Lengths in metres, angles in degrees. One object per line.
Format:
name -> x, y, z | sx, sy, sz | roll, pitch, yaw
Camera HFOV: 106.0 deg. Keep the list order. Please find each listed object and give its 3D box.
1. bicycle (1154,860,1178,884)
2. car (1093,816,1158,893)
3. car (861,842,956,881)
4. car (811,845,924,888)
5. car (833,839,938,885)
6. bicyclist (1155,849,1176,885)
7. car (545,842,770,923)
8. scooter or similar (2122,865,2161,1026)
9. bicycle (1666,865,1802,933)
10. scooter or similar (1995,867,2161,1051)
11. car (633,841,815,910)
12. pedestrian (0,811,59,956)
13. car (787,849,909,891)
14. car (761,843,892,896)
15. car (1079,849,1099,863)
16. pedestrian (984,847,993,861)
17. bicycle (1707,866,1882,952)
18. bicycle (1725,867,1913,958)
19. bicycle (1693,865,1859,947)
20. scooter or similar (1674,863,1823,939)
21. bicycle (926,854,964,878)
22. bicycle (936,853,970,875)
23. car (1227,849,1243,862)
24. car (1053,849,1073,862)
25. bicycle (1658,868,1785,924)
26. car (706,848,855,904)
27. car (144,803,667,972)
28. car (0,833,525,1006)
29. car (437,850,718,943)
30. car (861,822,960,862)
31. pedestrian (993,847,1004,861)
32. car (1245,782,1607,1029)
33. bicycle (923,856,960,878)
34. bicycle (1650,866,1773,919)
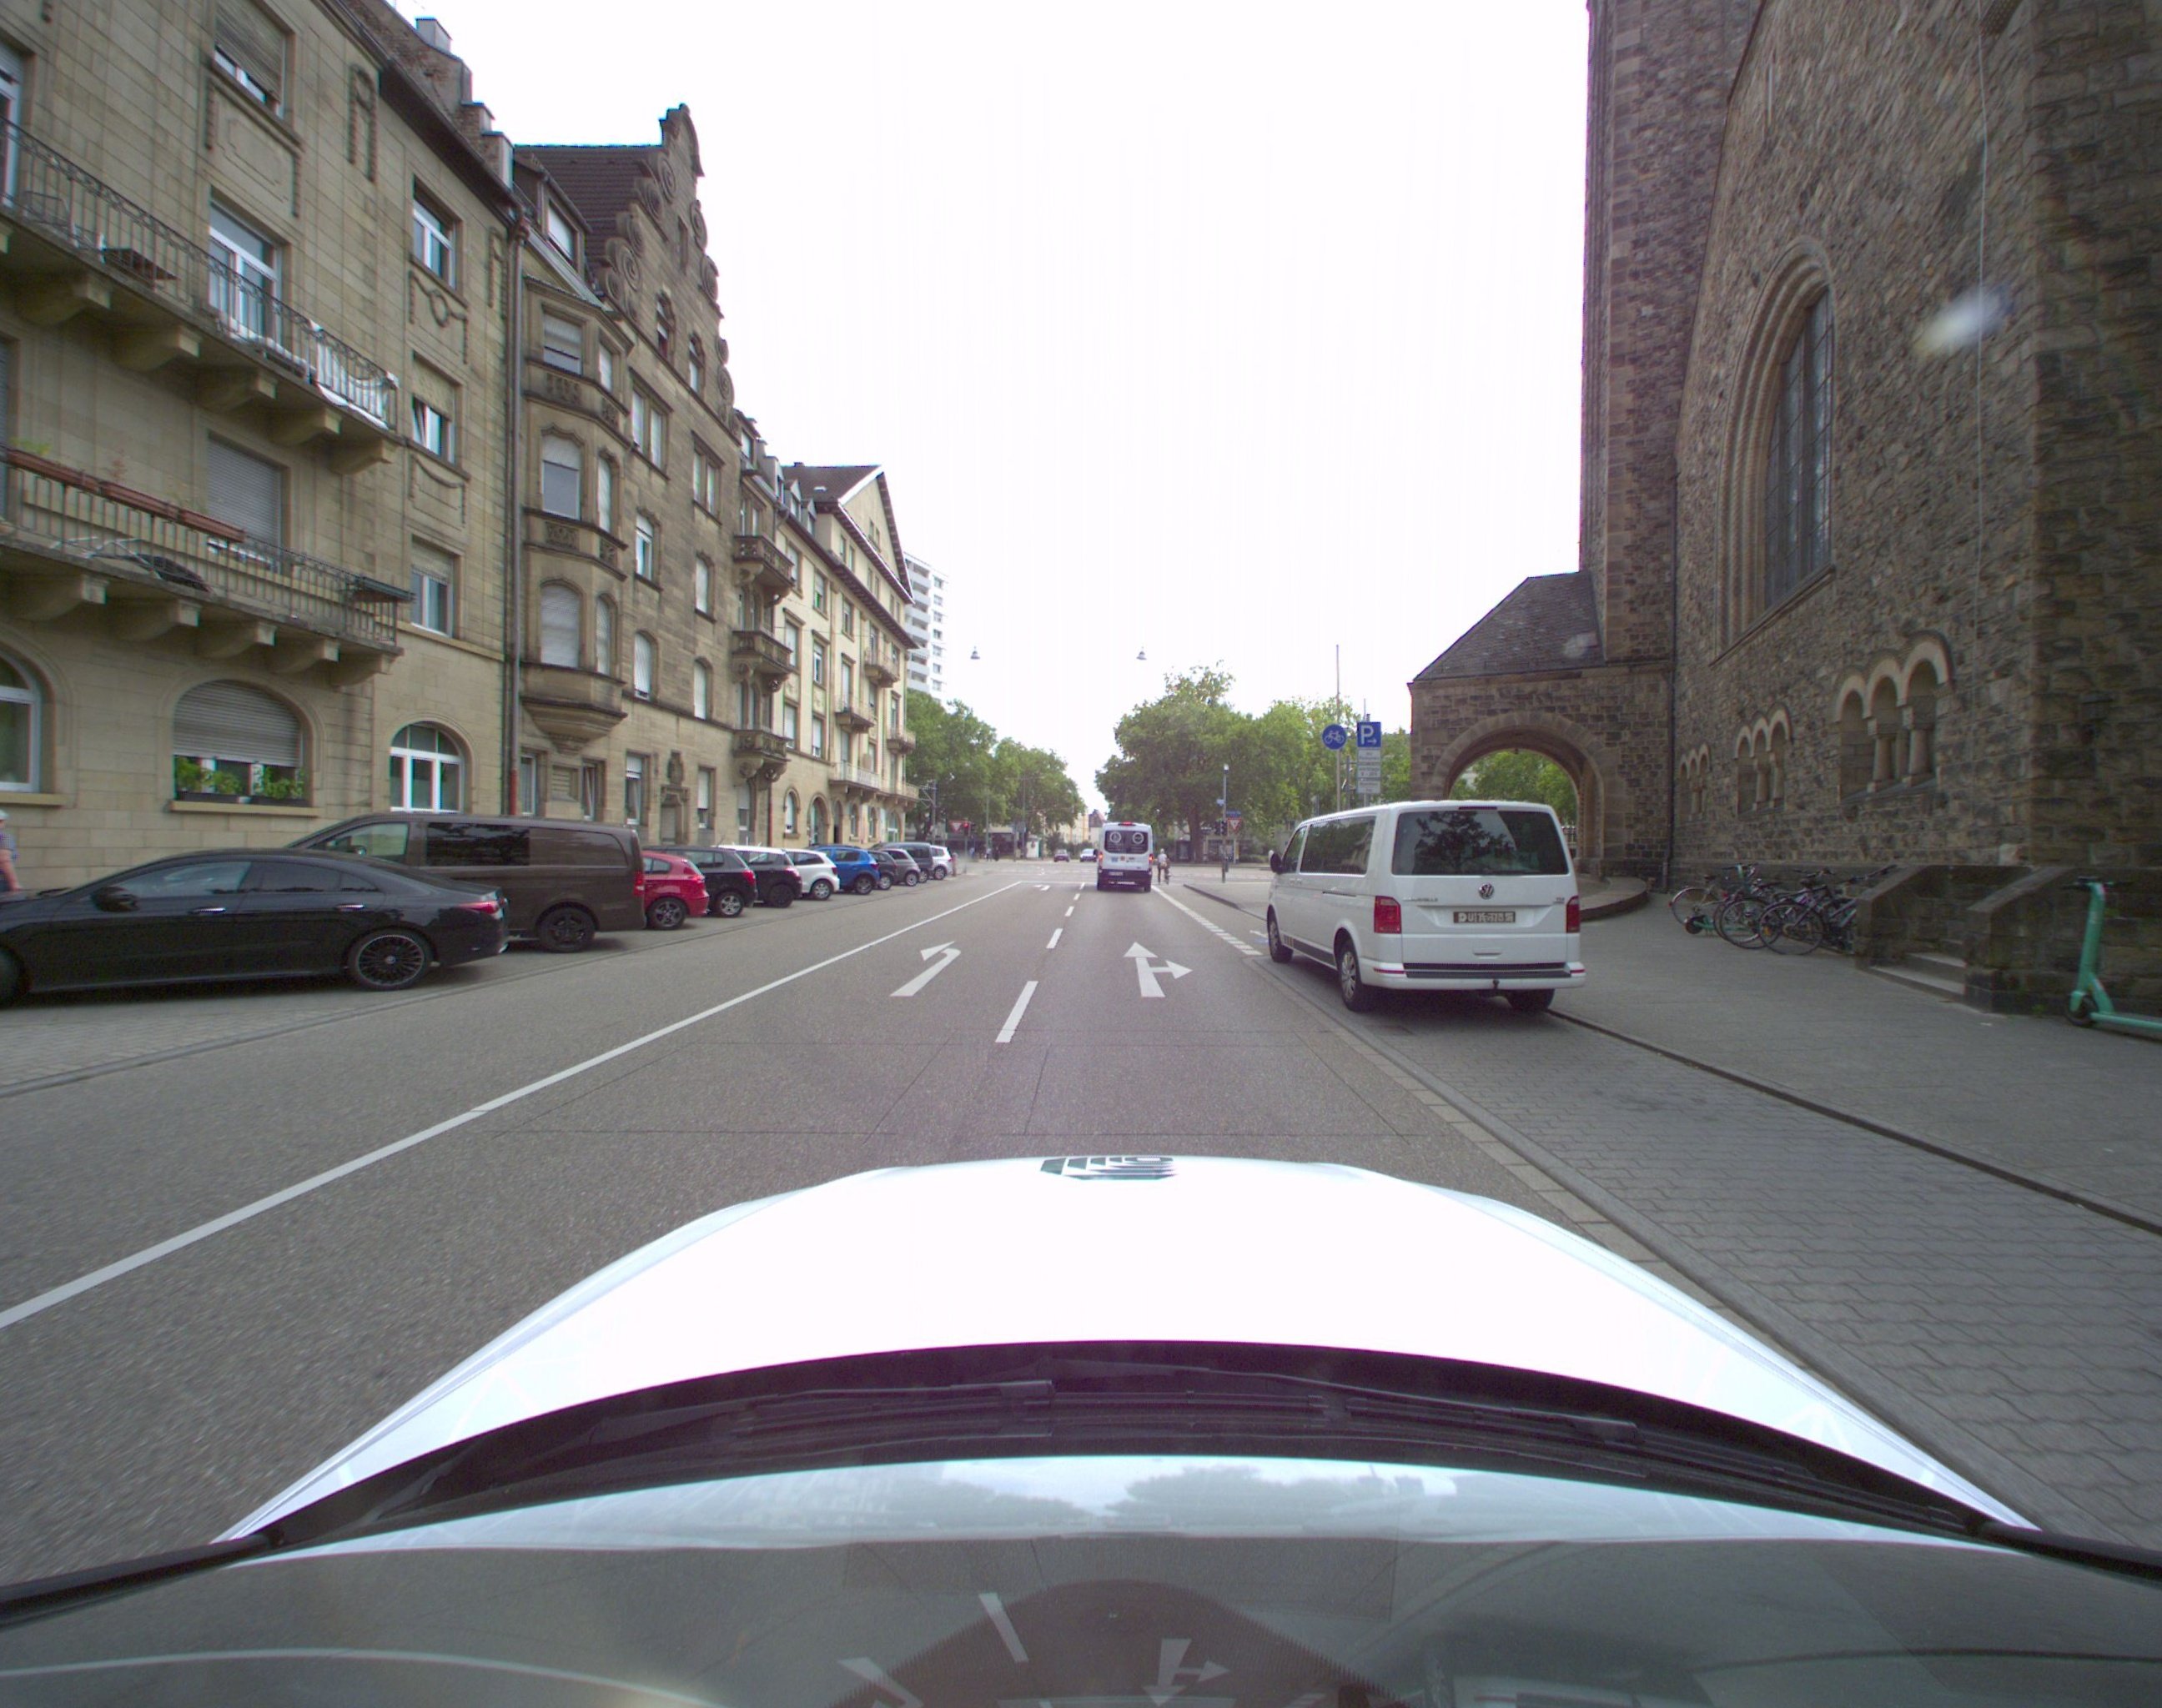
bicycle -> 4.014, 0.856, 38.482 | 0.900, 1.075, 1.969 | 1, 0, -1
car -> 1.617, -0.028, 31.454 | 2.174, 2.647, 4.628 | 3, 1, 0
car -> -8.149, 0.325, 38.616 | 4.031, 1.773, 1.776 | 0, 0, -38
car -> -8.556, 0.465, 32.807 | 4.031, 1.651, 1.776 | 0, 0, -38
car -> -8.473, 0.325, 35.425 | 4.031, 1.878, 1.776 | 0, 0, -38
bicyclist -> 3.996, 0.614, 38.619 | 0.901, 1.683, 0.756 | 0, 0, -2
car -> -8.744, 0.532, 16.935 | 4.012, 1.503, 1.615 | 0, 0, -34
scooter or similar -> 8.271, 0.697, 5.697 | 0.539, 1.207, 1.489 | 0, 0, 21
bicycle -> 11.266, 0.754, 14.116 | 1.762, 1.112, 0.549 | 0, 0, 20
scooter or similar -> 7.669, 0.714, 6.002 | 0.540, 1.207, 1.448 | 0, 0, 15
car -> -8.937, 0.491, 20.456 | 4.025, 1.564, 1.779 | 0, 0, -31
pedestrian -> -11.807, 0.309, 8.869 | 0.651, 1.545, 0.506 | 0, 0, -18
car -> -8.499, 0.554, 29.828 | 3.919, 1.443, 1.818 | 0, 0, -35
car -> -8.360, 0.477, 26.846 | 3.794, 1.651, 1.706 | 0, 0, -35
car -> 1.002, 0.219, 94.867 | 1.723, 1.592, 4.011 | 0, 0, 9
pedestrian -> -10.091, -0.006, 88.995 | 0.801, 1.572, 0.727 | 0, 0, 16
bicycle -> 9.860, 0.737, 11.324 | 1.754, 1.112, 0.549 | 0, 0, 20
bicycle -> 9.644, 0.740, 10.708 | 1.762, 1.112, 0.549 | 0, 0, 20
bicycle -> 10.099, 0.734, 11.898 | 1.762, 1.112, 0.549 | 0, 0, 20
scooter or similar -> 10.601, 0.731, 12.995 | 1.762, 1.140, 0.549 | 0, 0, 20
bicycle -> -7.176, 0.616, 43.115 | 1.800, 1.120, 0.595 | 4, 0, 5
bicycle -> -7.283, 0.540, 46.284 | 1.859, 1.167, 0.500 | 2, 0, 22
car -> 22.699, 0.187, 119.970 | 1.983, 1.930, 4.007 | 0, 0, 6
car -> -2.094, 0.169, 95.934 | 1.611, 1.476, 4.011 | 0, 1, 9
bicycle -> 11.726, 0.751, 14.963 | 1.762, 0.957, 0.549 | 0, 0, 20
car -> -8.612, 0.575, 23.429 | 3.701, 1.481, 1.723 | 0, 0, -35
car -> -8.936, 0.374, 11.540 | 5.290, 1.910, 2.100 | 0, 0, -33
car -> -8.704, 0.614, 8.457 | 4.692, 1.409, 1.879 | 3, 0, -38
car -> -8.808, 0.648, 14.416 | 4.032, 1.409, 1.776 | 0, 0, -40
car -> -17.424, -1.235, 83.231 | 9.794, 3.915, 3.476 | 1, 0, 26
pedestrian -> -9.028, 0.021, 89.097 | 0.922, 1.514, 0.727 | 0, 0, 16
car -> 3.393, 0.381, 9.342 | 2.008, 2.029, 5.124 | -1, 1, 0
bicycle -> -7.249, 0.670, 42.445 | 1.799, 1.120, 0.595 | 0, 0, 8
bicycle -> 12.019, 0.738, 15.578 | 1.761, 0.957, 0.549 | -2, 0, 20
